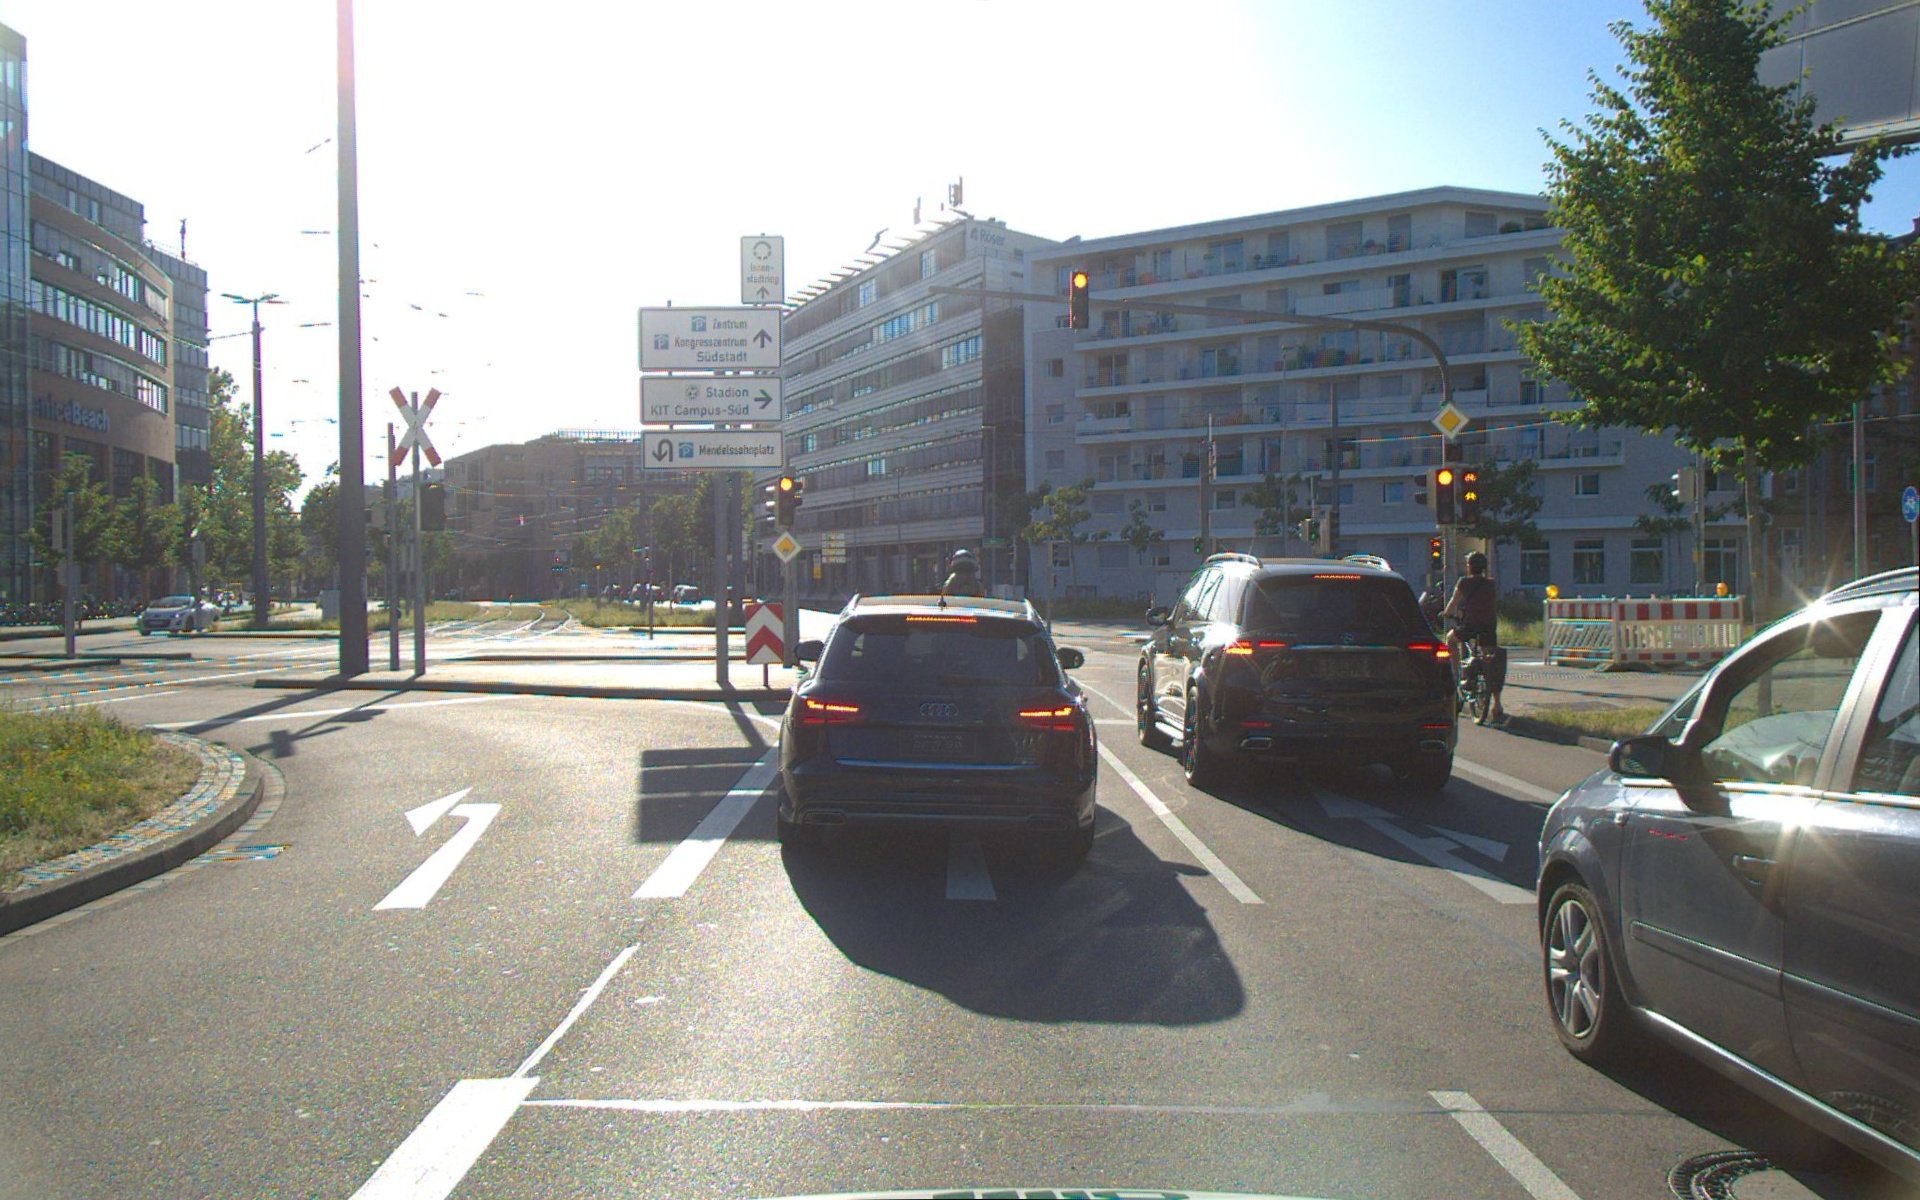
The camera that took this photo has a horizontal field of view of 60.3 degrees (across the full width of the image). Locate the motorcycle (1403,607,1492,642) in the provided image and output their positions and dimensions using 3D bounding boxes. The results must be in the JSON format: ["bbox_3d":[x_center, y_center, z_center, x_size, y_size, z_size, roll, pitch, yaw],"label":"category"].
[{"bbox_3d":[14.982,0.735,50.870,2.403,1.018,1.171,-1,0,-2],"label":"motorcycle"}]

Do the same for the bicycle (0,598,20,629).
[{"bbox_3d":[-46.160,0.641,79.021,2.039,1.458,0.861,-2,0,8],"label":"bicycle"}]

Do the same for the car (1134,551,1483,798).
[{"bbox_3d":[2.728,0.502,14.039,1.962,1.745,4.372,1,1,-1],"label":"car"}]

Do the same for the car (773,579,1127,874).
[{"bbox_3d":[-0.086,0.630,10.513,1.805,1.479,3.999,1,1,-1],"label":"car"}]

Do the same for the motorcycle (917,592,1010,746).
[{"bbox_3d":[0.021,0.636,16.278,0.845,1.417,1.893,-1,0,-1],"label":"motorcycle"}]

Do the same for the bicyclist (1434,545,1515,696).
[{"bbox_3d":[5.835,0.218,18.808,0.640,1.671,0.972,-1,1,2],"label":"bicyclist"}]

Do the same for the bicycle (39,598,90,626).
[{"bbox_3d":[-50.166,0.680,92.653,2.551,1.458,0.772,-2,0,8],"label":"bicycle"}]

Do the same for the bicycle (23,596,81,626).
[{"bbox_3d":[-46.147,0.554,84.023,2.507,1.458,0.905,-2,0,8],"label":"bicycle"}]

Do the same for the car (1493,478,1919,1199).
[{"bbox_3d":[2.889,0.605,4.111,1.710,1.725,4.260,0,0,-1],"label":"car"}]

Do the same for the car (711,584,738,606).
[{"bbox_3d":[-21.747,-0.467,152.709,1.961,1.870,3.983,-2,0,-16],"label":"car"}]

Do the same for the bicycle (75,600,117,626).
[{"bbox_3d":[-50.635,0.768,96.962,2.092,1.458,0.759,-2,0,8],"label":"bicycle"}]

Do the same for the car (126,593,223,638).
[{"bbox_3d":[-29.921,0.562,63.171,1.955,1.572,4.524,-1,1,-7],"label":"car"}]

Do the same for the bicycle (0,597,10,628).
[{"bbox_3d":[-46.293,0.620,78.055,2.319,1.458,1.077,-2,0,8],"label":"bicycle"}]

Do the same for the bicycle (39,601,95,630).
[{"bbox_3d":[-46.572,0.811,86.266,2.507,1.458,0.905,-2,0,8],"label":"bicycle"}]

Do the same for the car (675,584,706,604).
[{"bbox_3d":[-22.876,-0.514,140.339,1.963,1.624,3.980,-2,0,-18],"label":"car"}]

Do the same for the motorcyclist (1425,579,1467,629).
[{"bbox_3d":[14.927,0.121,50.864,0.906,1.507,1.171,-1,0,-2],"label":"motorcyclist"}]

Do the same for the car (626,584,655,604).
[{"bbox_3d":[-28.800,-0.532,148.949,1.963,1.736,3.978,-2,0,-19],"label":"car"}]

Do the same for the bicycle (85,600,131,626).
[{"bbox_3d":[-50.525,0.782,98.138,2.369,1.458,0.789,-2,0,8],"label":"bicycle"}]

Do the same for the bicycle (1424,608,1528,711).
[{"bbox_3d":[5.846,0.648,18.832,0.640,1.061,1.930,-1,1,2],"label":"bicycle"}]

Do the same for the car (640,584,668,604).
[{"bbox_3d":[-26.385,-0.538,142.647,1.961,1.624,3.983,-2,0,-16],"label":"car"}]

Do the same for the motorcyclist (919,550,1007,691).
[{"bbox_3d":[0.025,0.197,16.354,0.845,1.349,0.681,-1,0,-1],"label":"motorcyclist"}]

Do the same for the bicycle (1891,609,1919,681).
[{"bbox_3d":[17.949,0.815,29.671,0.761,1.284,2.051,-1,0,-40],"label":"bicycle"}]

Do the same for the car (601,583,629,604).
[{"bbox_3d":[-30.922,-0.553,148.118,1.963,1.736,3.978,-2,0,-19],"label":"car"}]
